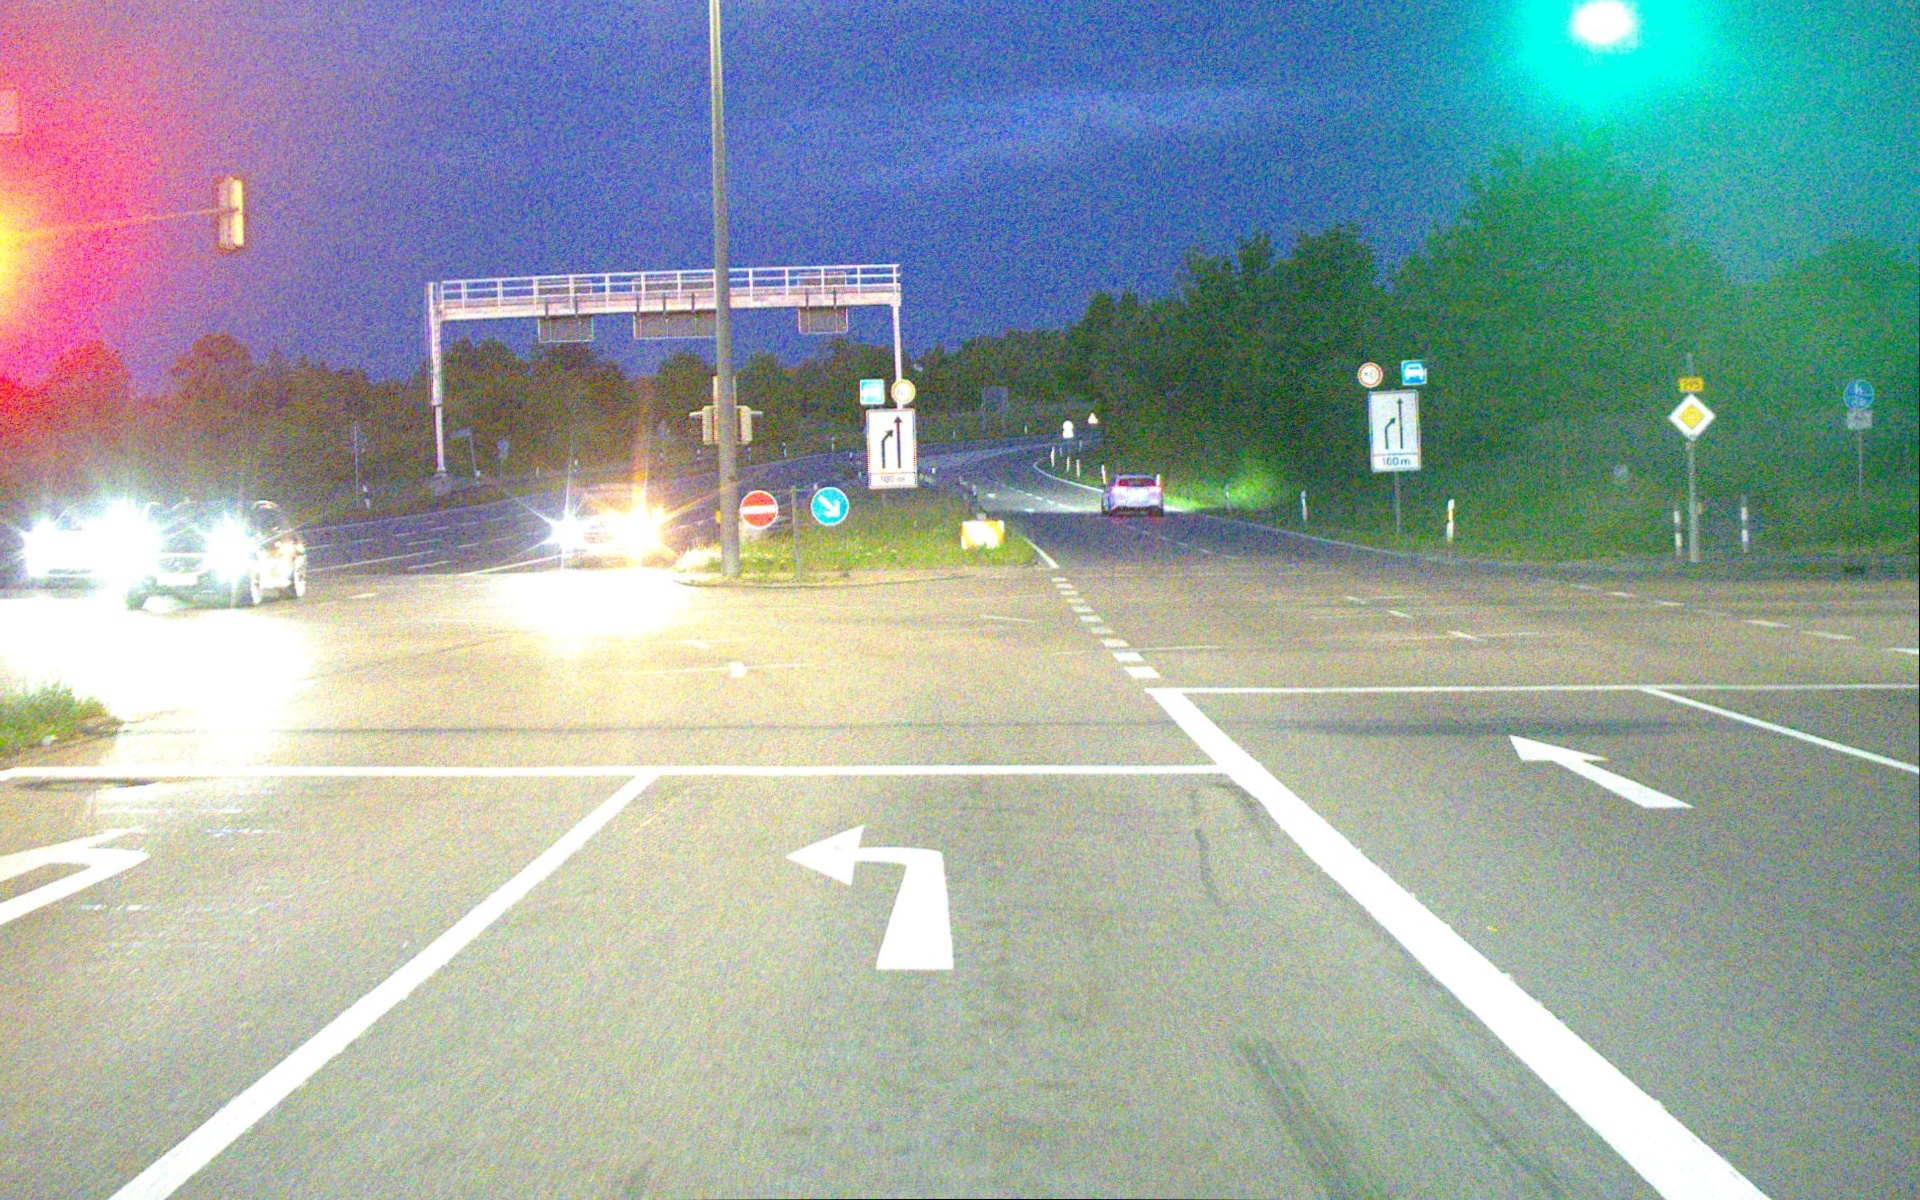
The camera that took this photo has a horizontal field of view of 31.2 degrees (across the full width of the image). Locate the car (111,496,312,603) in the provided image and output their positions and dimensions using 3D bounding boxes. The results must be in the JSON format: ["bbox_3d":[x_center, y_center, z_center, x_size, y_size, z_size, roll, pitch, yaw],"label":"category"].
[{"bbox_3d":[-10.935,-0.781,50.541,1.993,1.476,4.683,0,2,-1],"label":"car"}]

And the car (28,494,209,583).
[{"bbox_3d":[-14.214,-1.074,58.315,1.993,1.420,4.533,0,2,-1],"label":"car"}]

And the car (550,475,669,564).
[{"bbox_3d":[-6.955,-1.629,68.586,1.993,1.692,4.001,0,2,-1],"label":"car"}]

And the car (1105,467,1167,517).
[{"bbox_3d":[5.820,-3.557,113.803,2.008,1.605,3.845,0,1,3],"label":"car"}]
